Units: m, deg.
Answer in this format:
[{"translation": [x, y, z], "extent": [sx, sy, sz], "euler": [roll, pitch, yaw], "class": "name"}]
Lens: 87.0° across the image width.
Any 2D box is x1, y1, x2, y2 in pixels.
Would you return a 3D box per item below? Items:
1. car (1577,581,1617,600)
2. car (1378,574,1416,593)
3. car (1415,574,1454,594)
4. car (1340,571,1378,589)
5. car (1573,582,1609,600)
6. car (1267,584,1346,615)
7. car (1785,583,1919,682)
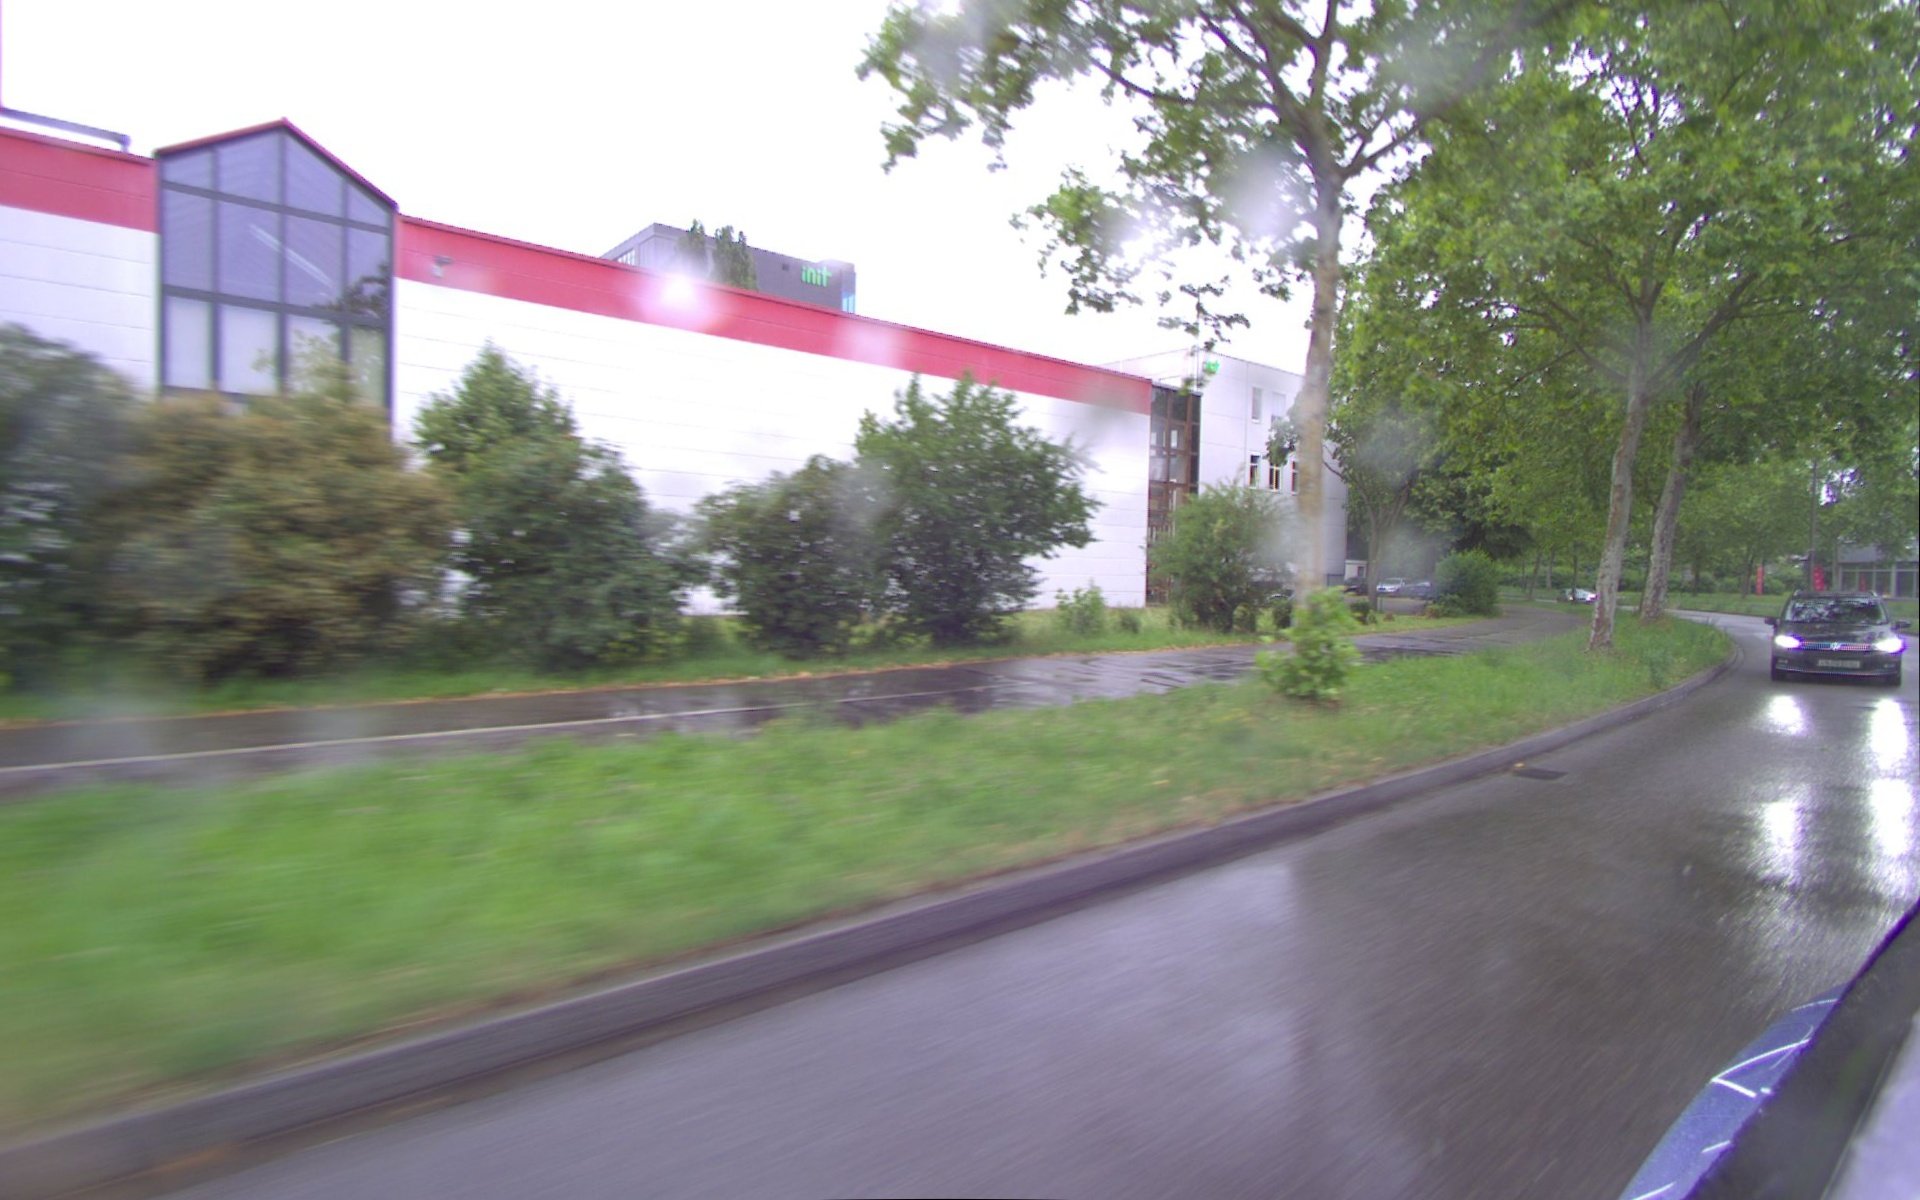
[{"translation": [52.758, -0.812, 83.923], "extent": [1.761, 1.575, 3.979], "euler": [1, 1, 17], "class": "car"}, {"translation": [33.010, -1.248, 76.440], "extent": [1.592, 1.438, 3.651], "euler": [1, 2, 42], "class": "car"}, {"translation": [34.842, -1.174, 74.218], "extent": [1.592, 1.375, 3.651], "euler": [1, 2, 42], "class": "car"}, {"translation": [30.711, -1.534, 77.828], "extent": [1.592, 1.375, 3.651], "euler": [1, 2, 42], "class": "car"}, {"translation": [57.352, -0.862, 92.072], "extent": [1.761, 1.575, 3.979], "euler": [1, 1, 17], "class": "car"}, {"translation": [17.555, -0.068, 51.177], "extent": [4.035, 1.494, 1.784], "euler": [0, 1, -36], "class": "car"}, {"translation": [16.451, 0.507, 18.698], "extent": [1.777, 1.575, 3.942], "euler": [3, 2, 40], "class": "car"}]
